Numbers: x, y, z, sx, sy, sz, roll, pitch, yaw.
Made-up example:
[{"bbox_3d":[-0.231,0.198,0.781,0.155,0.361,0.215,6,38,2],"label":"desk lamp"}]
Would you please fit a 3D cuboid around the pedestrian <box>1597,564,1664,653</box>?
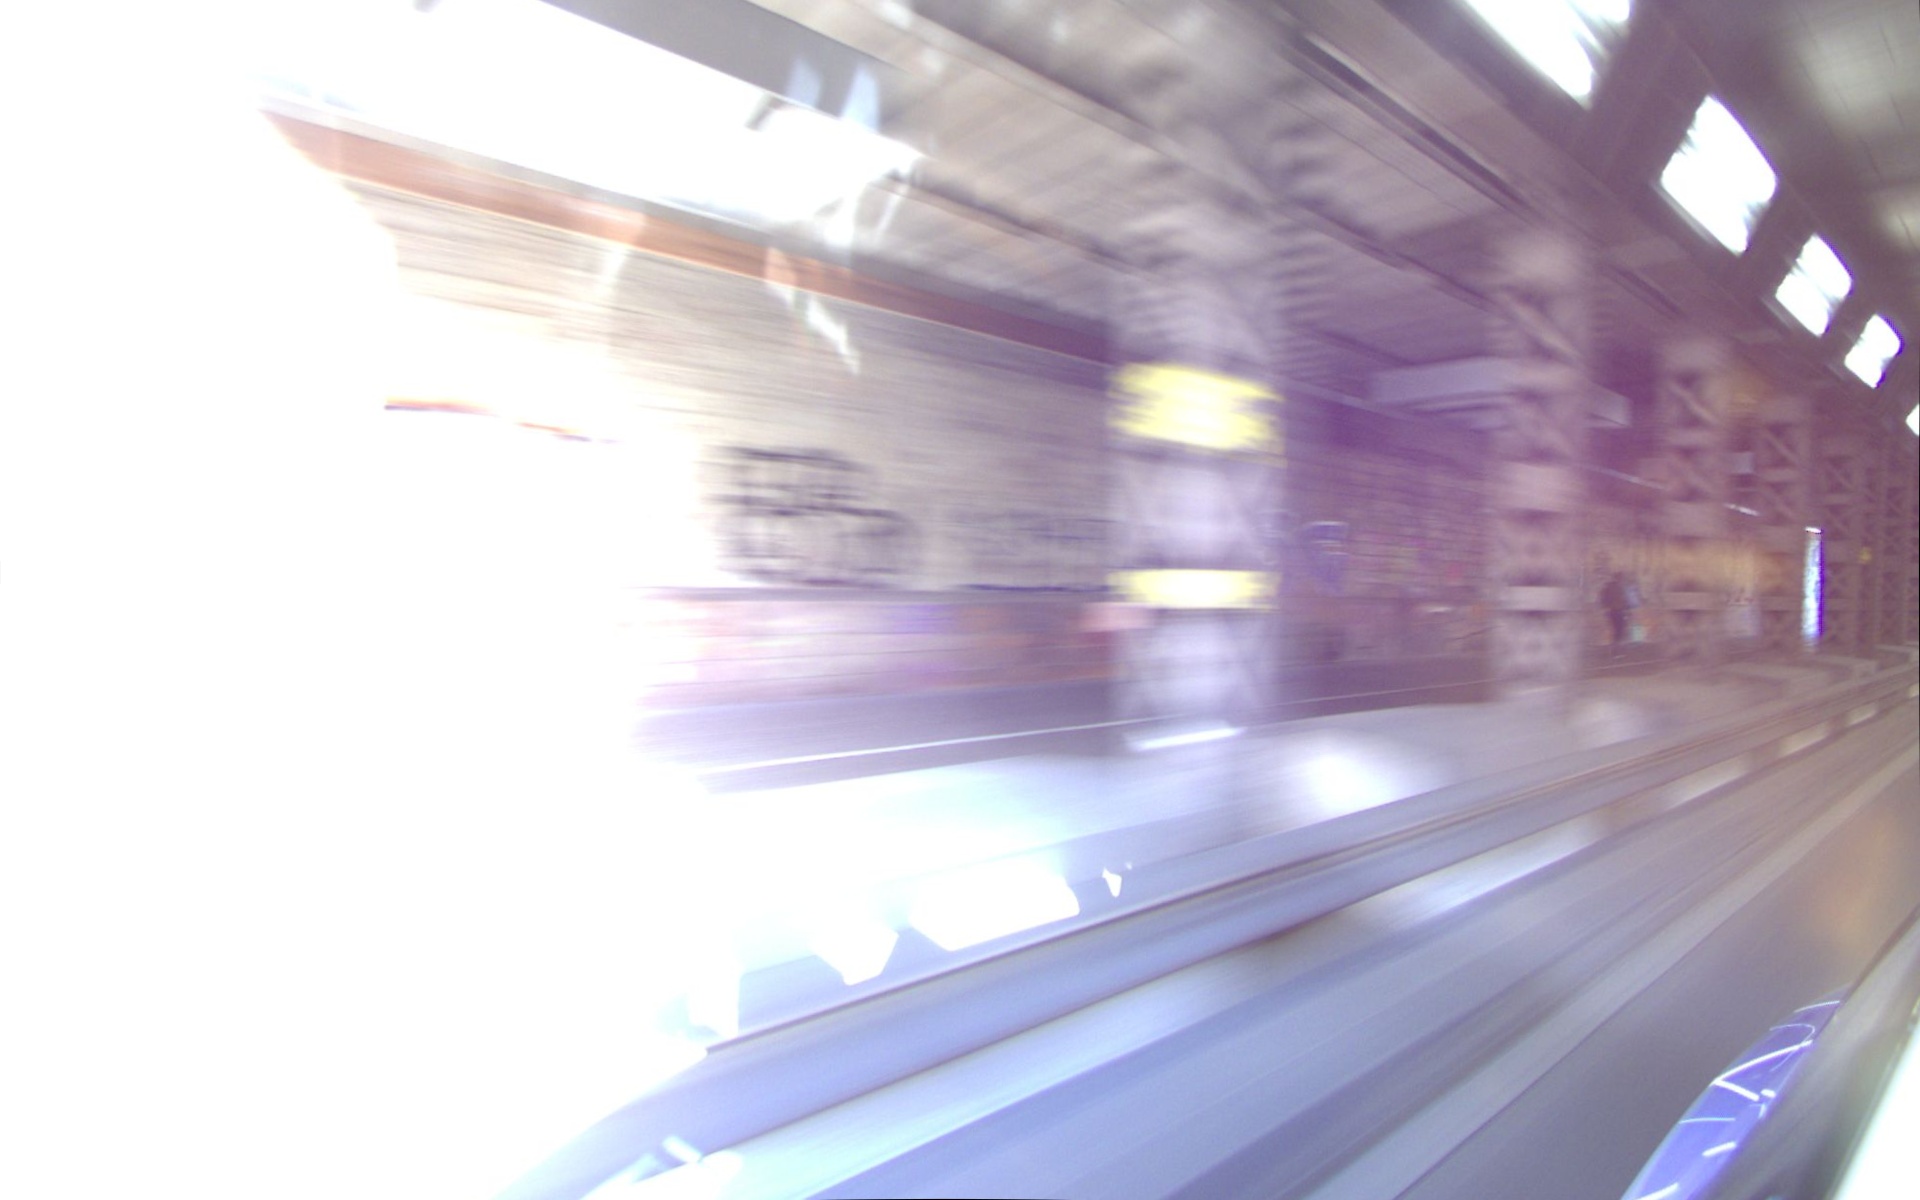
[{"bbox_3d":[13.468,0.154,20.325,1.092,1.722,0.801,0,2,-41],"label":"pedestrian"}]
